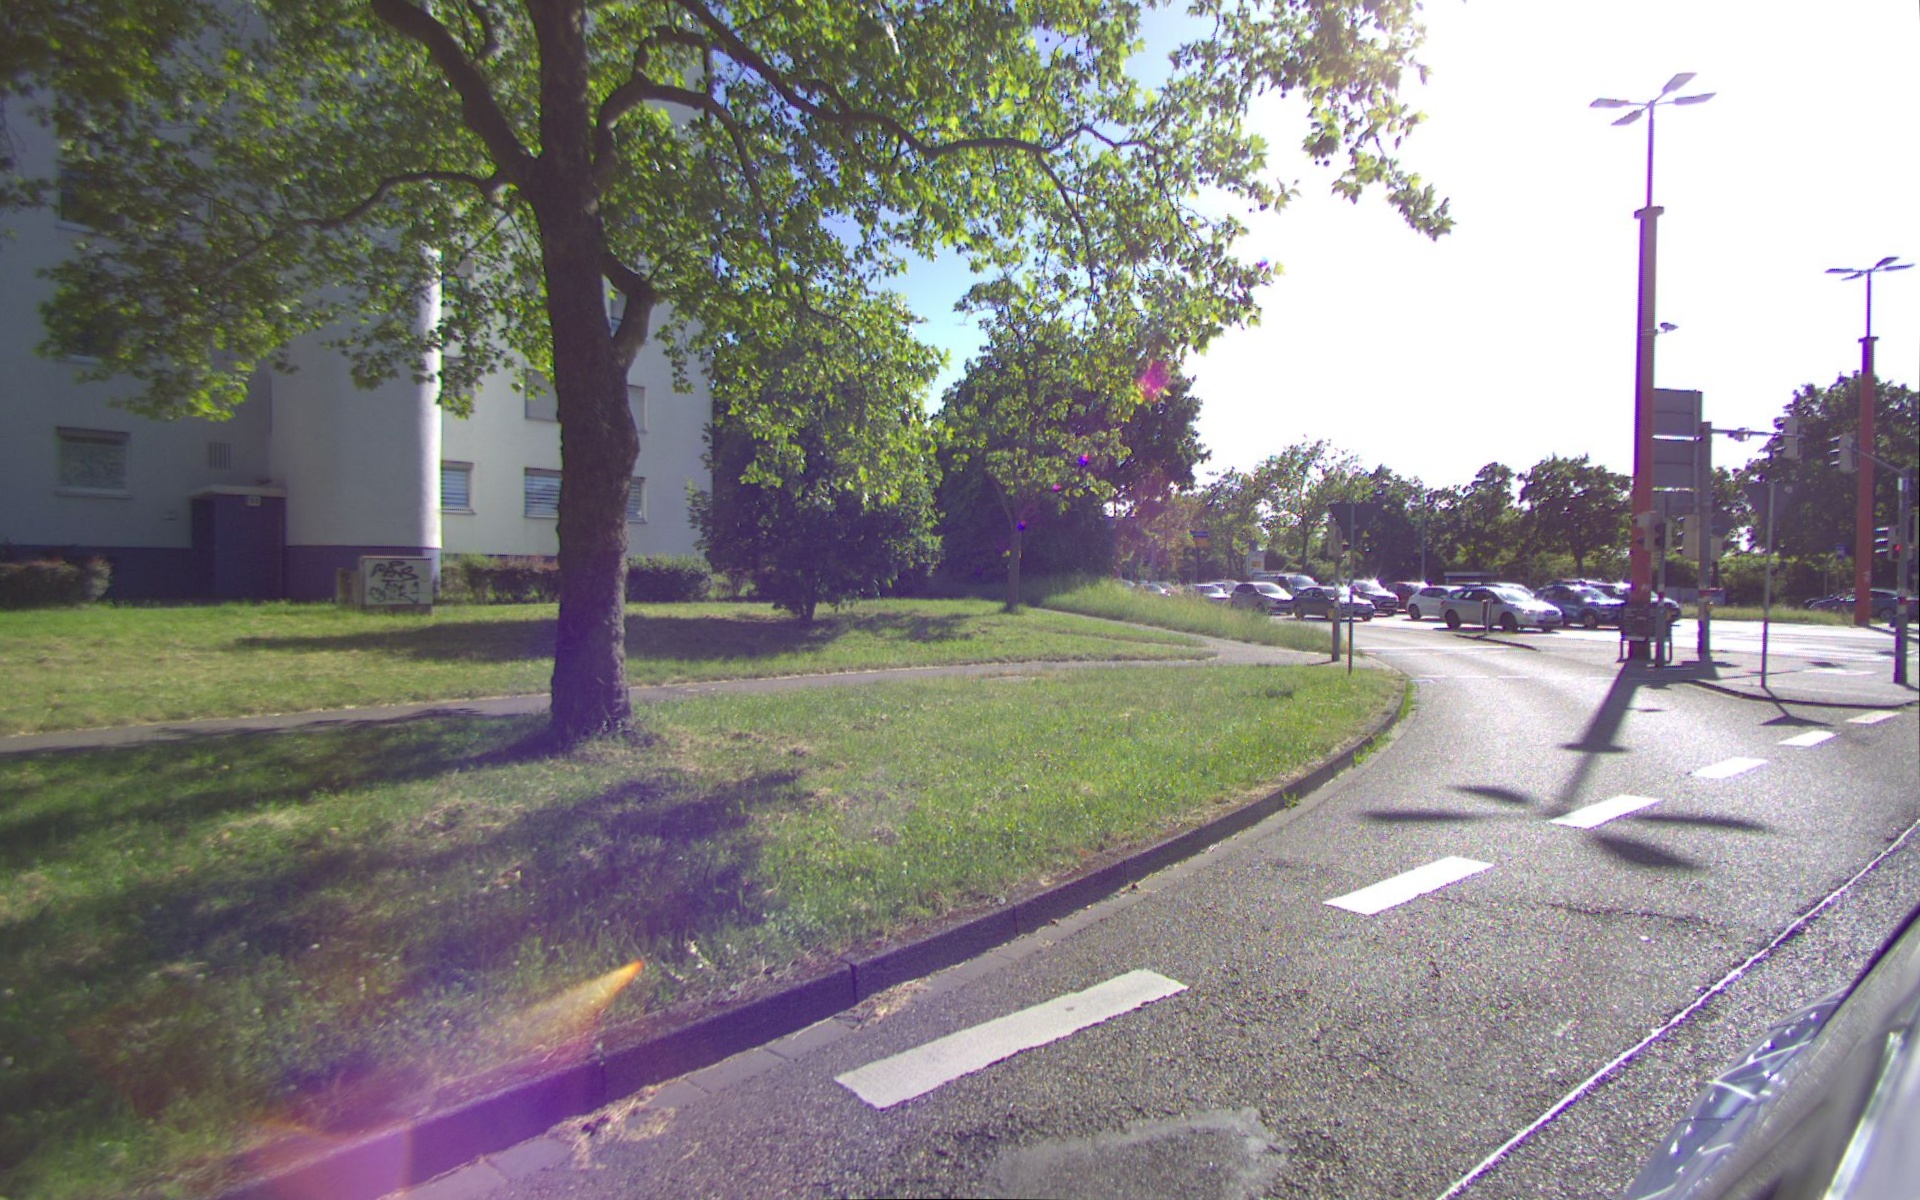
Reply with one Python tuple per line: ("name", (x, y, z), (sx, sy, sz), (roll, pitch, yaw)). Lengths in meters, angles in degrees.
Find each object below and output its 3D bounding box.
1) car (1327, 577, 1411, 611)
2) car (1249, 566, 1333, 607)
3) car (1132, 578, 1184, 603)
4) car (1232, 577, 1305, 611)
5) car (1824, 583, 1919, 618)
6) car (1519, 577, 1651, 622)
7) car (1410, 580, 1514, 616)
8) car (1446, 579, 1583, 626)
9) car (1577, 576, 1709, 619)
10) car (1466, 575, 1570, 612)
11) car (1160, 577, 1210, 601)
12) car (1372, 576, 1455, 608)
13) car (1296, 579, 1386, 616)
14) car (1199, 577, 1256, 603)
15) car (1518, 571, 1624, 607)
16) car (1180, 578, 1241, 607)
("car", (19.611, -0.324, 48.661), (1.762, 1.525, 4.008), (-1, 1, -13))
("car", (18.213, -0.787, 55.985), (2.049, 2.113, 5.204), (-1, 1, -13))
("car", (12.534, -0.614, 64.400), (1.762, 1.529, 4.008), (-1, 1, -13))
("car", (15.462, -0.339, 50.969), (1.762, 1.604, 4.008), (-1, 1, -13))
("car", (39.555, 0.014, 42.994), (1.762, 1.386, 4.009), (1, 1, -14))
("car", (22.541, -0.049, 36.693), (1.762, 1.500, 4.008), (-1, 1, -13))
("car", (20.955, -0.122, 42.421), (1.762, 1.409, 4.008), (-1, 1, -13))
("car", (19.165, 0.039, 35.204), (1.762, 1.500, 4.294), (-1, 1, -13))
("car", (25.746, -0.148, 38.333), (1.762, 1.500, 4.008), (-1, 1, -13))
("car", (24.556, -0.309, 44.691), (1.762, 1.529, 4.008), (-1, 1, -13))
("car", (15.375, -0.787, 69.359), (1.762, 1.529, 4.008), (-1, 1, -13))
("car", (22.740, -0.419, 50.899), (1.762, 1.500, 4.008), (-1, 1, -13))
("car", (16.621, -0.139, 44.321), (1.762, 1.529, 4.008), (-1, 1, -13))
("car", (16.604, -0.652, 63.052), (1.762, 1.529, 4.008), (-1, 1, -13))
("car", (27.298, -0.510, 45.362), (1.762, 1.529, 4.008), (-1, 1, -13))
("car", (14.152, -0.450, 57.357), (1.762, 1.529, 4.008), (-1, 1, -13))
